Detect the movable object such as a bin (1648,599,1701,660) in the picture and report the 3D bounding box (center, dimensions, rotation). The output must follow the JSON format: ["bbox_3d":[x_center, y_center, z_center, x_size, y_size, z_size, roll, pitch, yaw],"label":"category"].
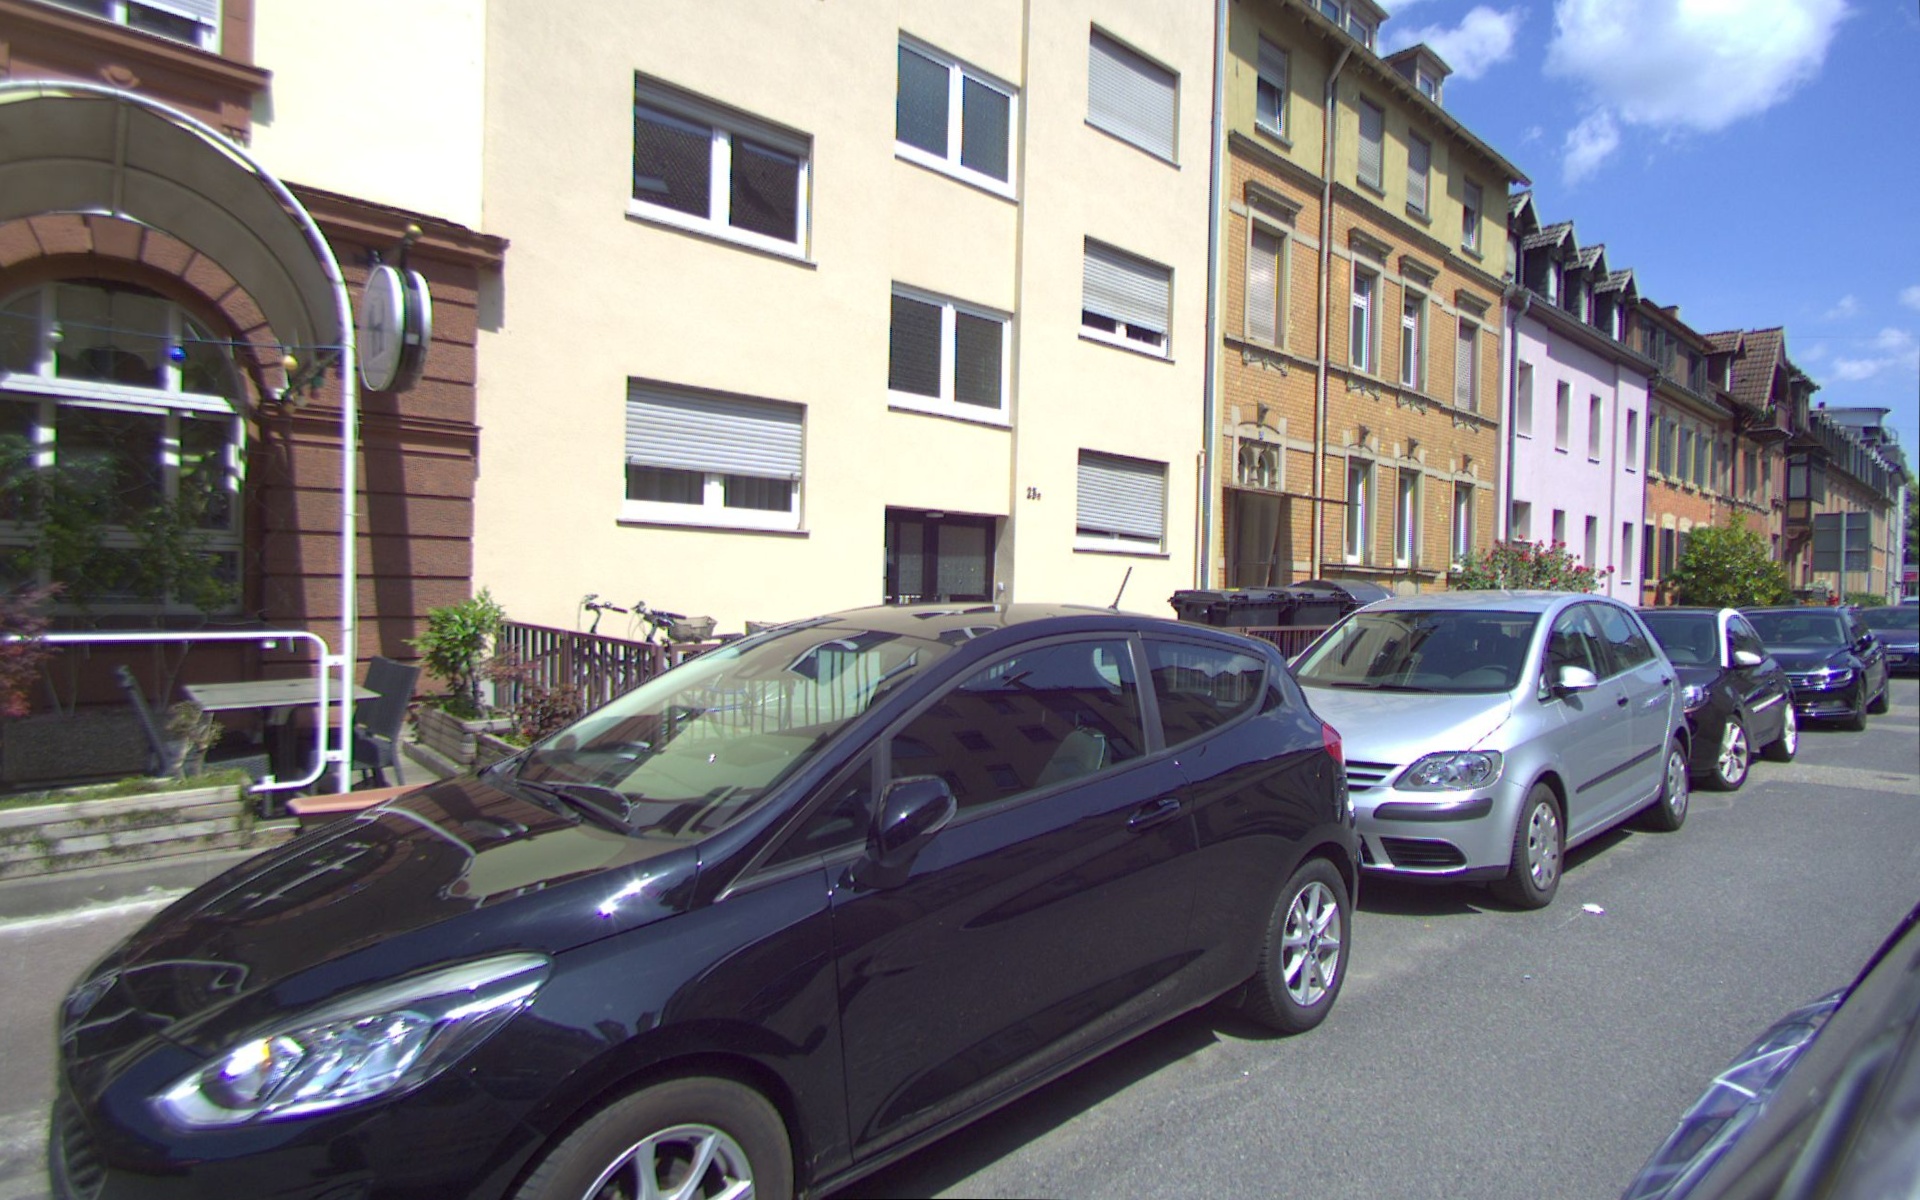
[{"bbox_3d":[15.476,0.628,21.911,0.862,1.257,0.752,1,1,-43],"label":"movable object such as a bin"}]

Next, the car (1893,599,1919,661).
[{"bbox_3d":[24.626,0.720,25.228,3.864,1.498,1.706,0,-1,-43],"label":"car"}]

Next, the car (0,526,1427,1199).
[{"bbox_3d":[-0.287,0.673,3.175,3.862,1.498,1.760,0,-1,-41],"label":"car"}]

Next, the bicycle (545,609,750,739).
[{"bbox_3d":[-2.626,0.581,8.639,0.551,0.995,1.604,1,1,43],"label":"bicycle"}]

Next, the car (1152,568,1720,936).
[{"bbox_3d":[3.152,0.664,6.330,3.995,1.571,1.760,0,-1,-41],"label":"car"}]

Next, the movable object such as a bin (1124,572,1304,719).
[{"bbox_3d":[2.701,0.431,10.781,1.388,1.413,1.284,1,1,-41],"label":"movable object such as a bin"}]

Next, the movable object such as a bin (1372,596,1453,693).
[{"bbox_3d":[5.944,0.563,13.296,0.734,1.203,0.722,1,1,-43],"label":"movable object such as a bin"}]

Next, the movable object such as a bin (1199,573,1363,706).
[{"bbox_3d":[3.720,0.410,11.731,1.340,1.413,1.284,1,1,-41],"label":"movable object such as a bin"}]

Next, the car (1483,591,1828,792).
[{"bbox_3d":[6.635,0.694,9.504,3.862,1.498,1.760,0,-1,-41],"label":"car"}]

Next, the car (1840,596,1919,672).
[{"bbox_3d":[20.054,0.675,21.438,3.864,1.498,1.706,0,-1,-43],"label":"car"}]

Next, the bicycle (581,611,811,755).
[{"bbox_3d":[-2.002,0.594,7.746,1.597,0.995,0.553,1,0,-31],"label":"bicycle"}]

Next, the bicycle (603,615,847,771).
[{"bbox_3d":[-1.660,0.619,7.235,1.597,0.995,0.553,1,0,-31],"label":"bicycle"}]

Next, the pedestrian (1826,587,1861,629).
[{"bbox_3d":[40.718,0.359,46.633,0.964,1.885,1.055,1,1,-42],"label":"pedestrian"}]

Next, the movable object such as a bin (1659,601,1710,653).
[{"bbox_3d":[16.094,0.585,22.492,0.862,1.111,0.752,1,1,-43],"label":"movable object such as a bin"}]

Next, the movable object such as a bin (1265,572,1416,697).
[{"bbox_3d":[4.736,0.389,12.615,1.282,1.428,1.284,1,1,-41],"label":"movable object such as a bin"}]

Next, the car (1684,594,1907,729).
[{"bbox_3d":[11.159,0.700,13.408,4.345,1.498,1.759,0,-1,-44],"label":"car"}]

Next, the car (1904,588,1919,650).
[{"bbox_3d":[28.540,0.536,29.115,3.864,1.732,1.706,0,-1,-43],"label":"car"}]
